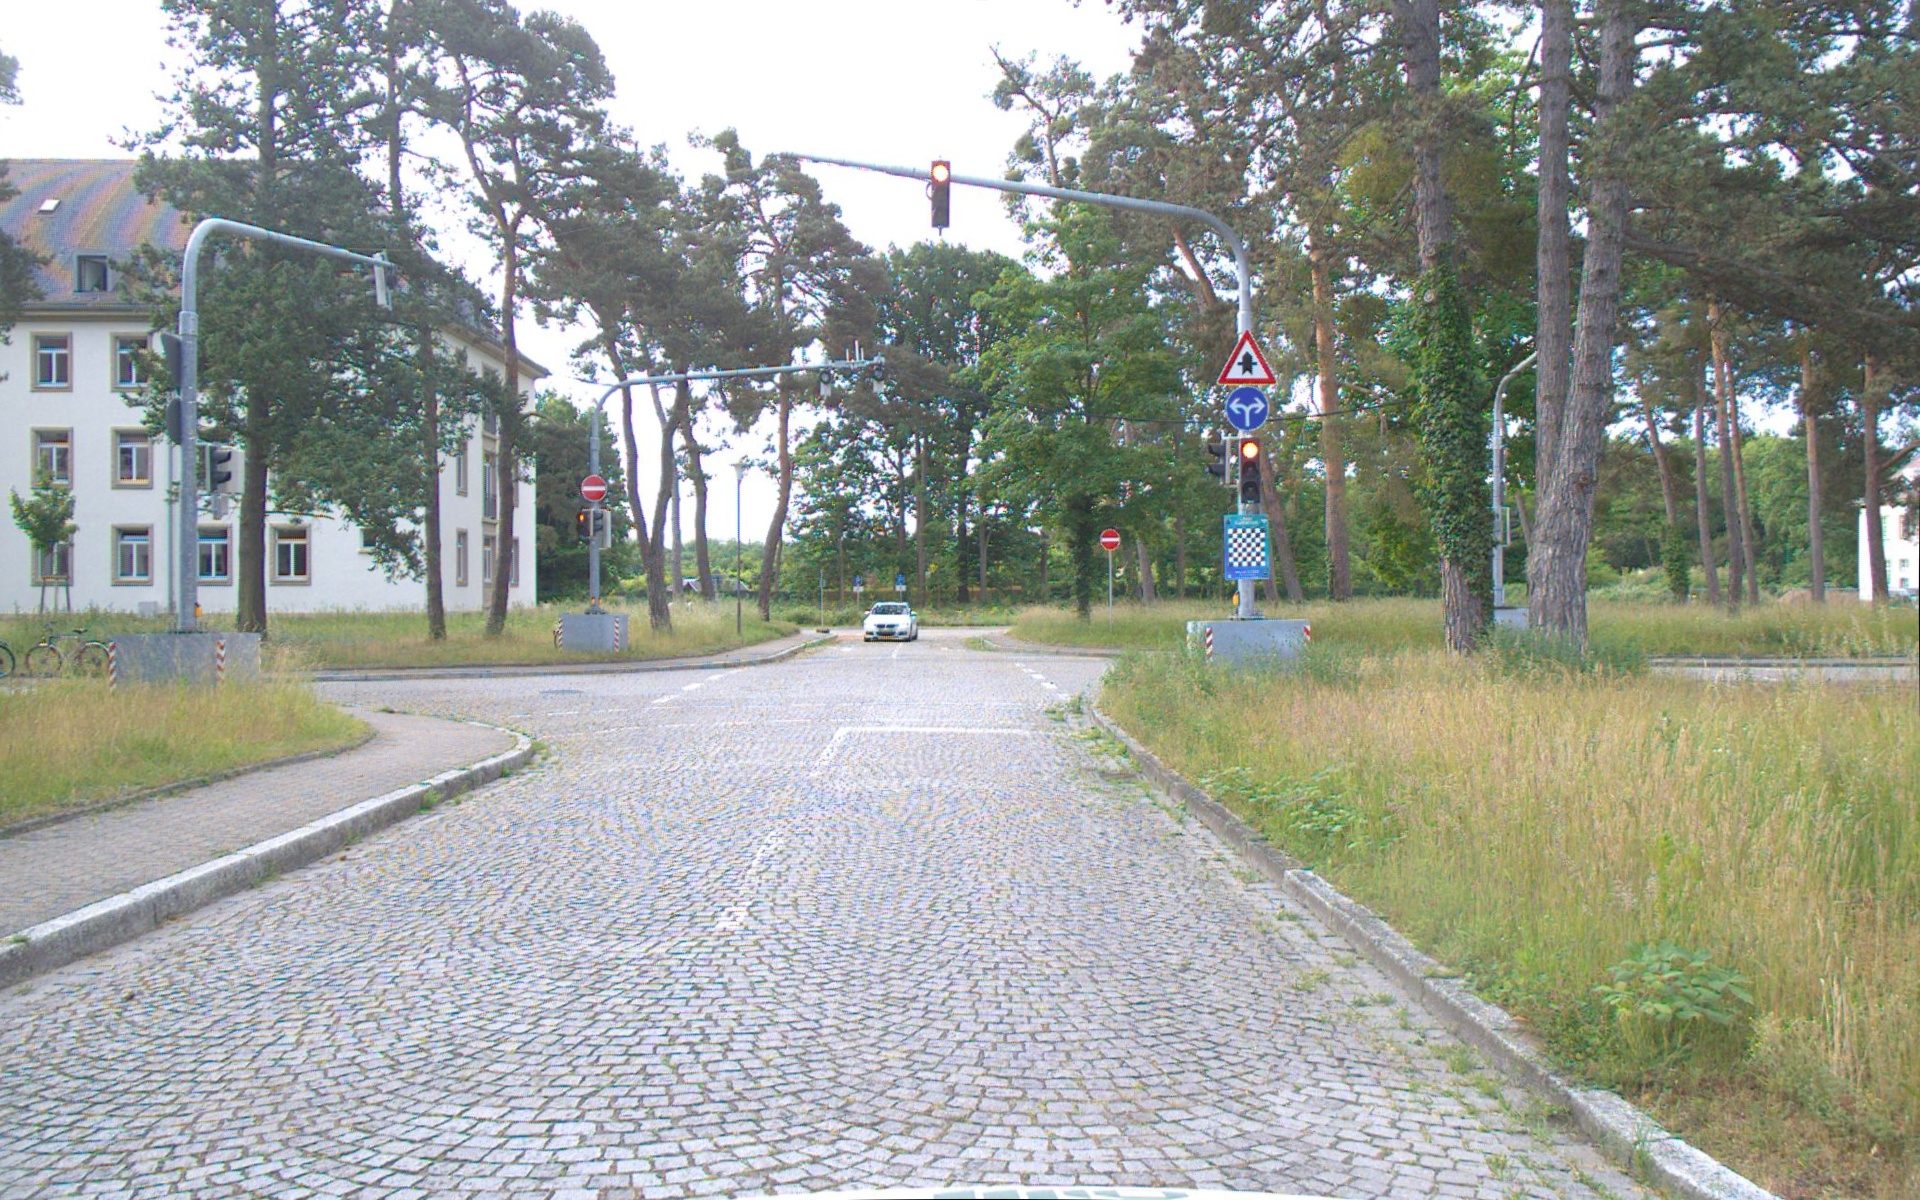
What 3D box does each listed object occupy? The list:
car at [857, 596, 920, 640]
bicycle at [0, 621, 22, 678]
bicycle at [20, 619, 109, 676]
[{"bbox_3d":[-2.656,0.642,62.403,1.736,1.463,4.221,-3,0,5],"label":"car"},{"bbox_3d":[-19.124,0.967,32.153,1.435,1.098,0.516,-1,0,-3],"label":"bicycle"},{"bbox_3d":[-17.521,0.924,32.372,1.435,1.084,0.516,-1,0,-3],"label":"bicycle"}]
